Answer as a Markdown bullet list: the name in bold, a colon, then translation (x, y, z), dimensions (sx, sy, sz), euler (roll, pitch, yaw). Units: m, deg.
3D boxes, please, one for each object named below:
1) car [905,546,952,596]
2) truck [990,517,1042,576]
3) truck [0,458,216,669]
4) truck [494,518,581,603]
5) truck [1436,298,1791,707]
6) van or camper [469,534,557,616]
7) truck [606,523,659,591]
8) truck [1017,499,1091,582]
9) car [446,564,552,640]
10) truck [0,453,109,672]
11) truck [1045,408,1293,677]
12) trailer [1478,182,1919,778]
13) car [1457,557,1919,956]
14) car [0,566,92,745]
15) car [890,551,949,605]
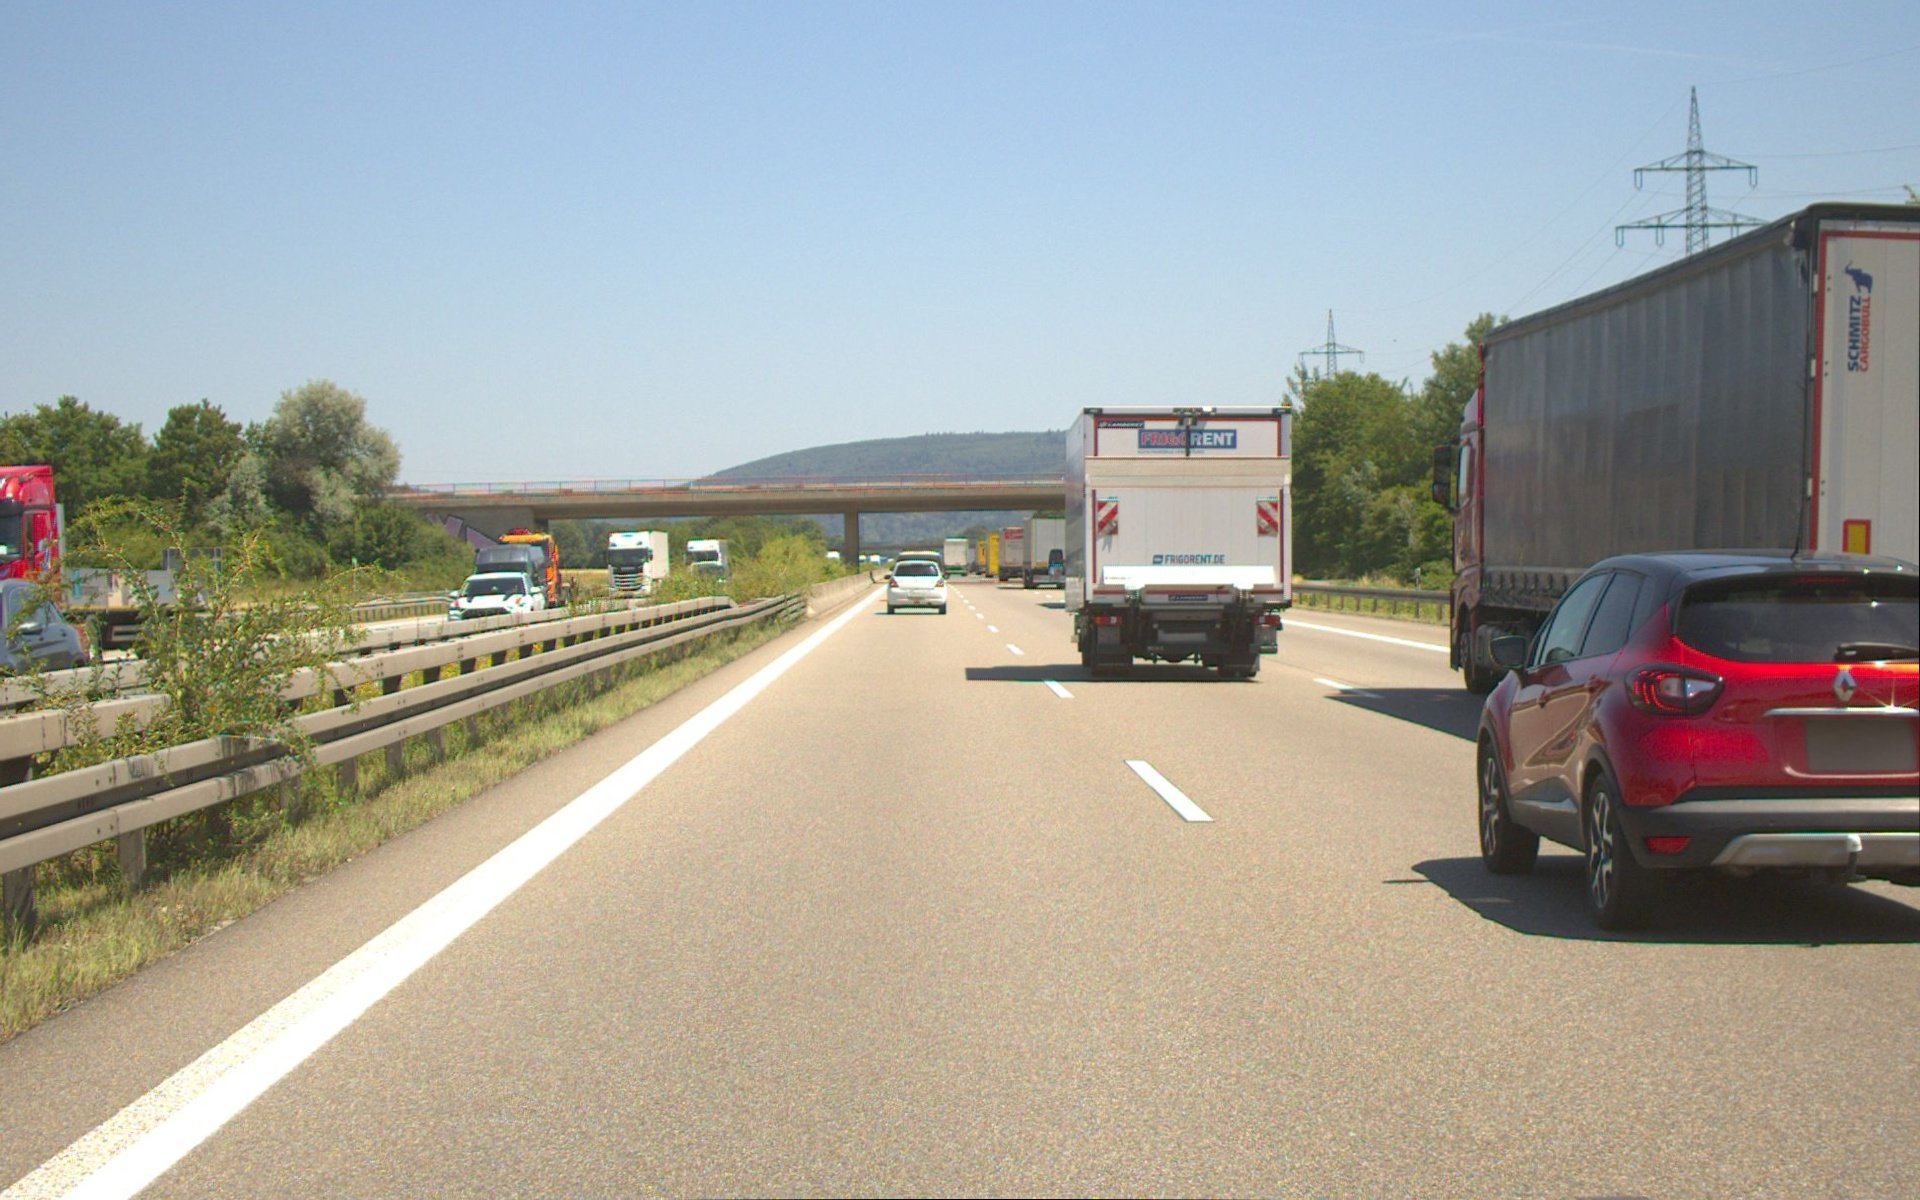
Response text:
- **car**: translation (-1.191, -1.113, 131.503), dimensions (1.761, 1.844, 4.000), euler (-1, 1, 0)
- **truck**: translation (4.312, -4.124, 266.102), dimensions (3.520, 4.401, 14.592), euler (-2, 1, -1)
- **truck**: translation (-18.602, -0.780, 73.026), dimensions (2.760, 4.000, 13.524), euler (-3, 1, -1)
- **truck**: translation (-19.181, -1.816, 156.706), dimensions (2.652, 3.649, 10.189), euler (-3, 1, -1)
- **truck**: translation (7.050, -1.030, 37.837), dimensions (2.795, 4.149, 5.723), euler (0, 1, 0)
- **van or camper**: translation (-14.847, -0.839, 114.491), dimensions (2.170, 2.579, 5.874), euler (-3, 1, -1)
- **truck**: translation (-19.824, -2.624, 208.247), dimensions (2.680, 4.001, 5.756), euler (-2, 1, -1)
- **truck**: translation (5.213, -3.321, 193.754), dimensions (3.520, 4.401, 14.592), euler (-2, 1, -1)
- **car**: translation (-10.238, 0.020, 76.526), dimensions (1.804, 1.563, 4.095), euler (-2, 1, -1)
- **truck**: translation (-18.448, -0.680, 65.929), dimensions (2.760, 4.000, 5.751), euler (-3, 1, -1)
- **truck**: translation (2.727, -0.768, 47.211), dimensions (2.782, 3.361, 8.128), euler (0, 1, -1)
- **trailer**: translation (7.146, -0.929, 30.749), dimensions (2.789, 4.149, 13.575), euler (0, 1, -1)
- **car**: translation (3.424, 0.583, 15.313), dimensions (1.803, 1.540, 4.000), euler (0, 1, -1)
- **car**: translation (-9.905, 0.533, 33.694), dimensions (1.809, 1.642, 3.962), euler (-2, 1, -1)
- **car**: translation (-1.145, -0.640, 98.353), dimensions (1.607, 1.462, 4.000), euler (-1, 1, 0)
